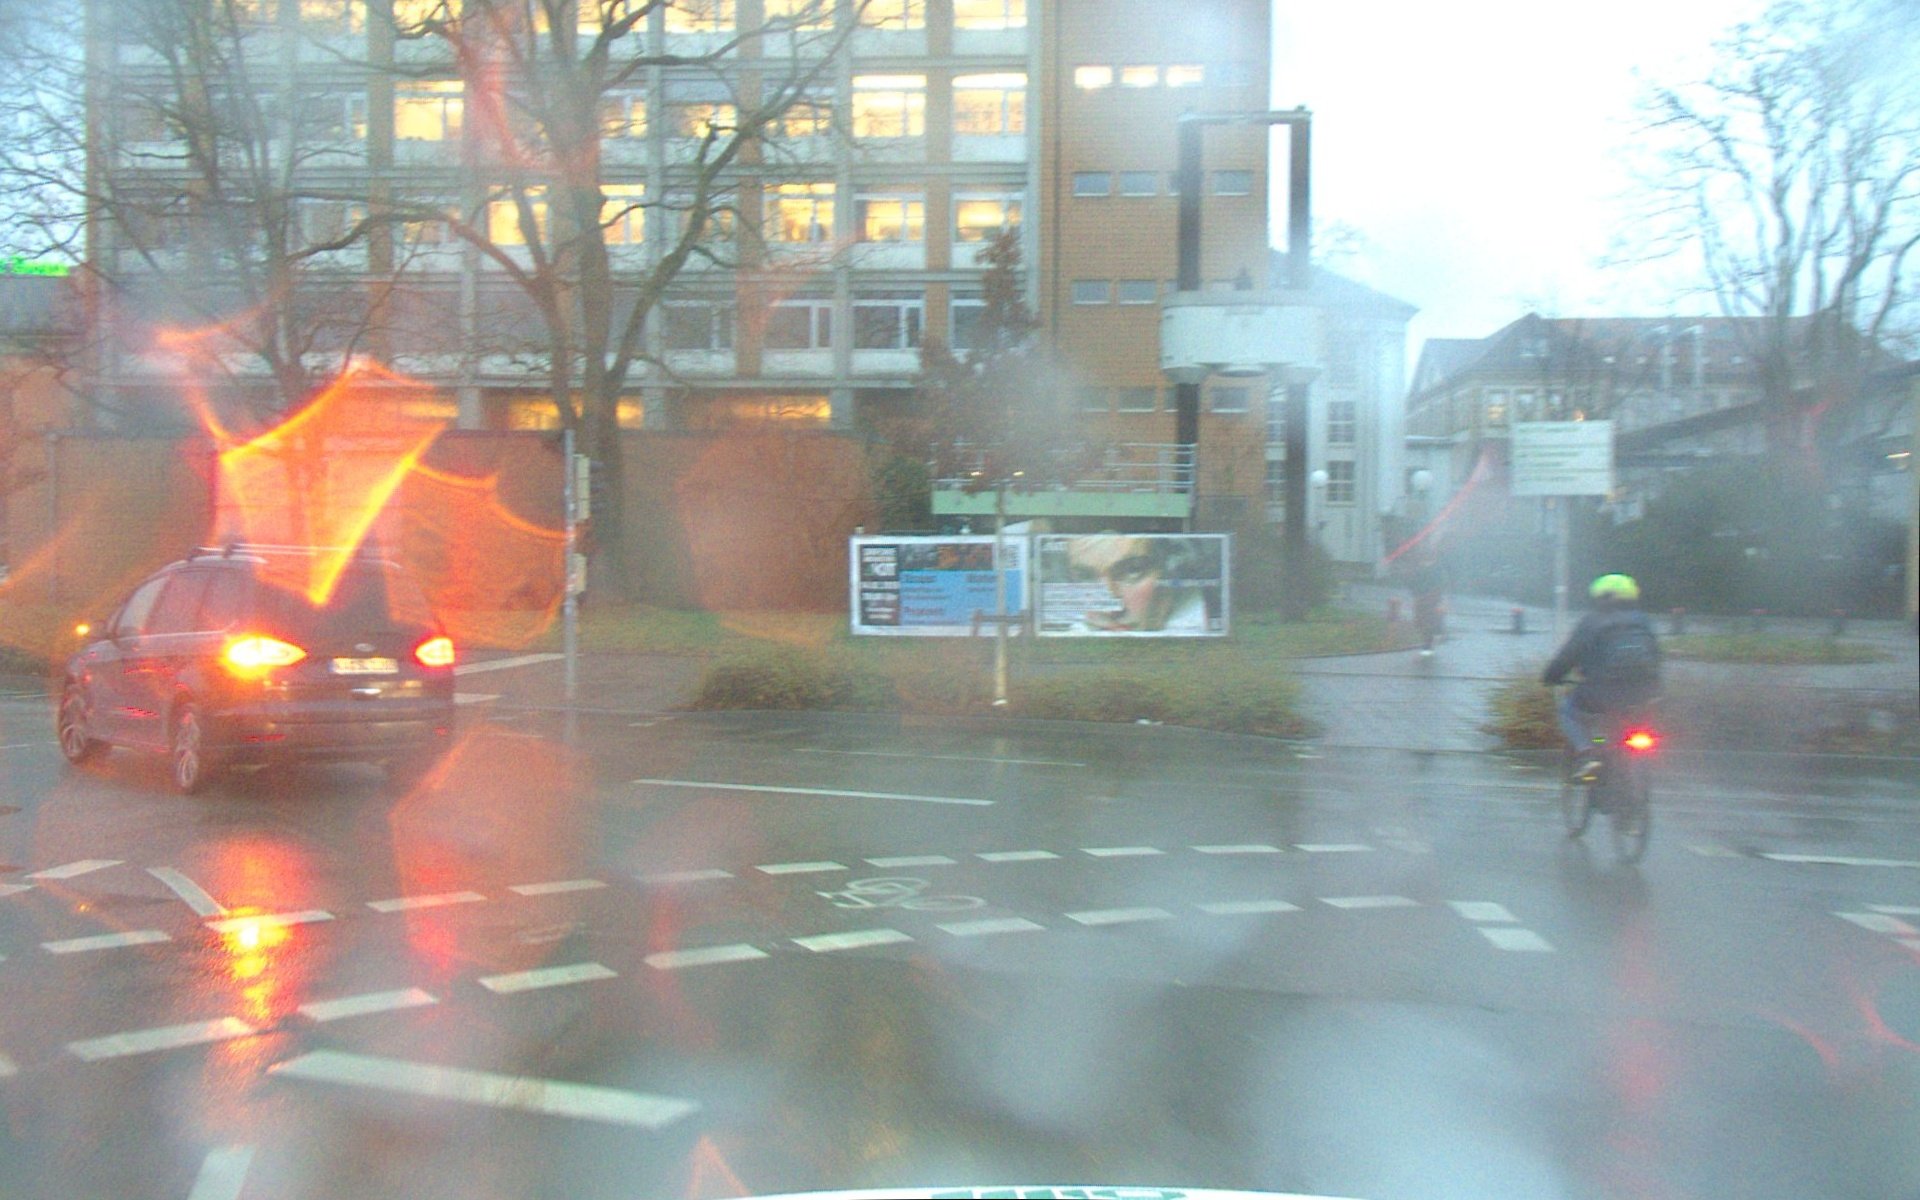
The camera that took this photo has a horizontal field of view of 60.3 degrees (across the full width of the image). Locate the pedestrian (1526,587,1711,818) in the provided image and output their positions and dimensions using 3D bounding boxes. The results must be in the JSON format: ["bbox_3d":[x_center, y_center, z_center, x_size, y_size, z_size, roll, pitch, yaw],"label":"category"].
[{"bbox_3d":[4.019,0.602,10.160,0.856,1.339,0.849,0,2,6],"label":"pedestrian"}]

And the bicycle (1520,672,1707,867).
[{"bbox_3d":[4.073,1.011,10.456,0.550,0.963,2.097,0,1,6],"label":"bicycle"}]

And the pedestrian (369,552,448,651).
[{"bbox_3d":[-9.869,0.008,29.621,1.046,1.717,0.809,0,3,26],"label":"pedestrian"}]

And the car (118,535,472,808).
[{"bbox_3d":[-5.538,0.437,13.430,1.763,1.831,4.371,1,1,-34],"label":"car"}]

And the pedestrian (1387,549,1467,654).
[{"bbox_3d":[7.899,0.015,28.014,0.911,1.716,0.908,0,3,-19],"label":"pedestrian"}]
